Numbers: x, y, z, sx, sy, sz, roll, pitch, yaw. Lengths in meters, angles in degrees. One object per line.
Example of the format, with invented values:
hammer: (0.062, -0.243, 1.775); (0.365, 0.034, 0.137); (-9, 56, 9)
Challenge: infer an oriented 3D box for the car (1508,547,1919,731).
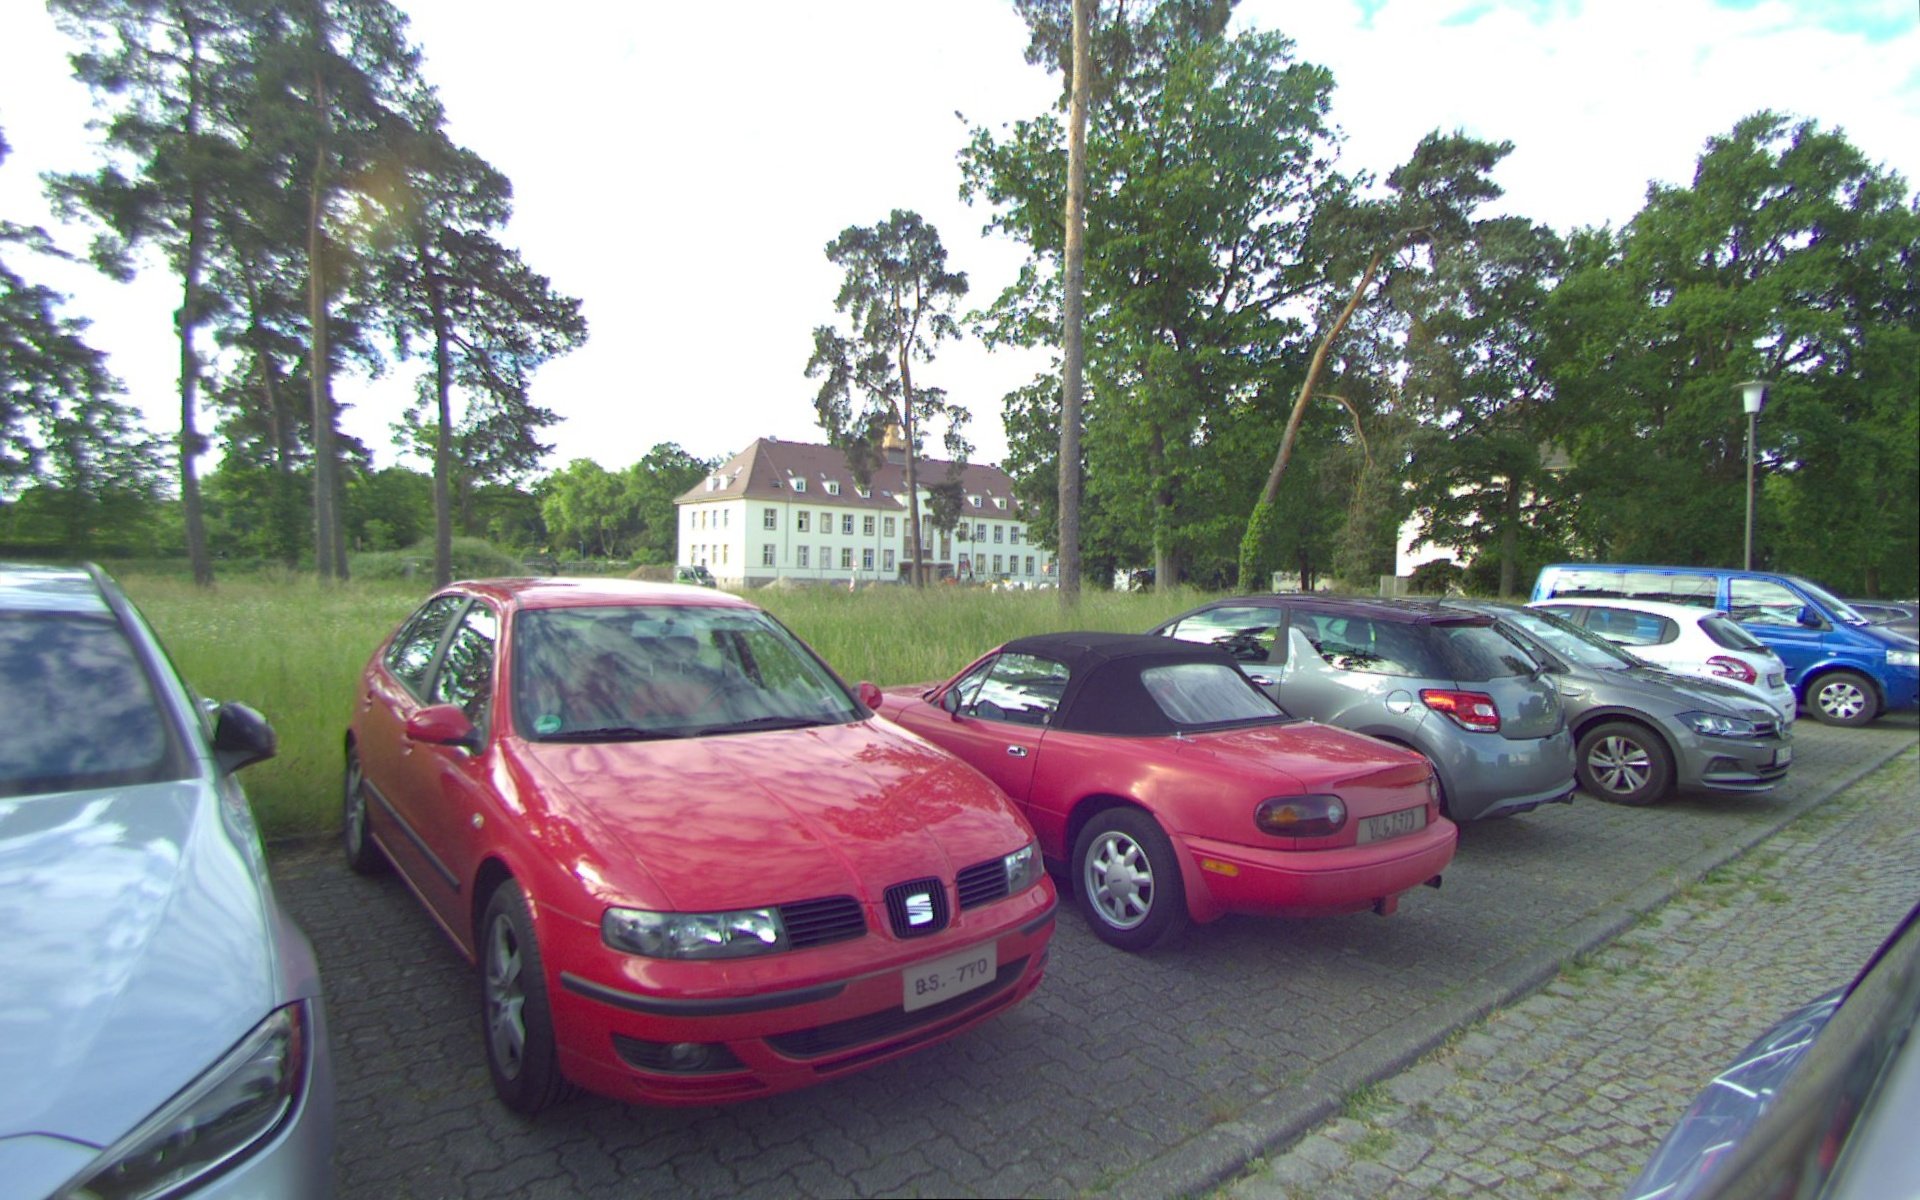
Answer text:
car: (10.881, 0.382, 14.390); (2.023, 2.047, 4.956); (0, 4, -39)

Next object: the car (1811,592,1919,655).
car: (25.030, 0.627, 26.647); (1.554, 1.544, 3.833); (0, 2, -43)

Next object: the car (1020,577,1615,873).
car: (2.332, 0.639, 7.417); (1.576, 1.522, 3.837); (0, 2, -40)

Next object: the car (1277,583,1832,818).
car: (4.857, 0.648, 8.736); (1.612, 1.483, 3.783); (0, 2, -38)

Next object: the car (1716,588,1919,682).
car: (17.372, 0.646, 19.859); (1.554, 1.621, 3.833); (1, 2, -43)

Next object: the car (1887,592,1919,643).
car: (33.011, 0.634, 32.998); (1.551, 1.638, 3.841); (1, 2, -35)

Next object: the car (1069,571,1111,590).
car: (12.750, -1.874, 99.357); (3.863, 1.704, 1.849); (0, 3, -37)

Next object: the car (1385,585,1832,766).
car: (6.797, 0.653, 10.960); (1.552, 1.517, 3.763); (0, 2, -38)

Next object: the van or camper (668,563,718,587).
van or camper: (-26.647, -2.522, 100.952); (6.065, 2.250, 1.968); (3, 2, 44)

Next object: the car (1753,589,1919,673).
car: (19.509, 0.642, 21.781); (1.554, 1.621, 3.628); (1, 2, -43)

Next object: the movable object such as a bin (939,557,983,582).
movable object such as a bin: (0.172, -3.527, 117.340); (1.995, 2.802, 5.120); (2, 2, 45)

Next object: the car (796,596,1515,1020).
car: (0.704, 0.700, 5.327); (1.579, 1.302, 3.556); (-1, 3, -38)

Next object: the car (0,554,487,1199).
car: (-2.765, 0.635, 2.564); (1.736, 1.446, 4.335); (0, 3, -41)

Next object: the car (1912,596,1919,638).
car: (36.591, 0.683, 35.894); (1.642, 1.548, 3.841); (1, 2, -35)

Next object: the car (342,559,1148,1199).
car: (-1.348, 0.573, 4.324); (1.688, 1.440, 4.118); (0, 2, -39)
